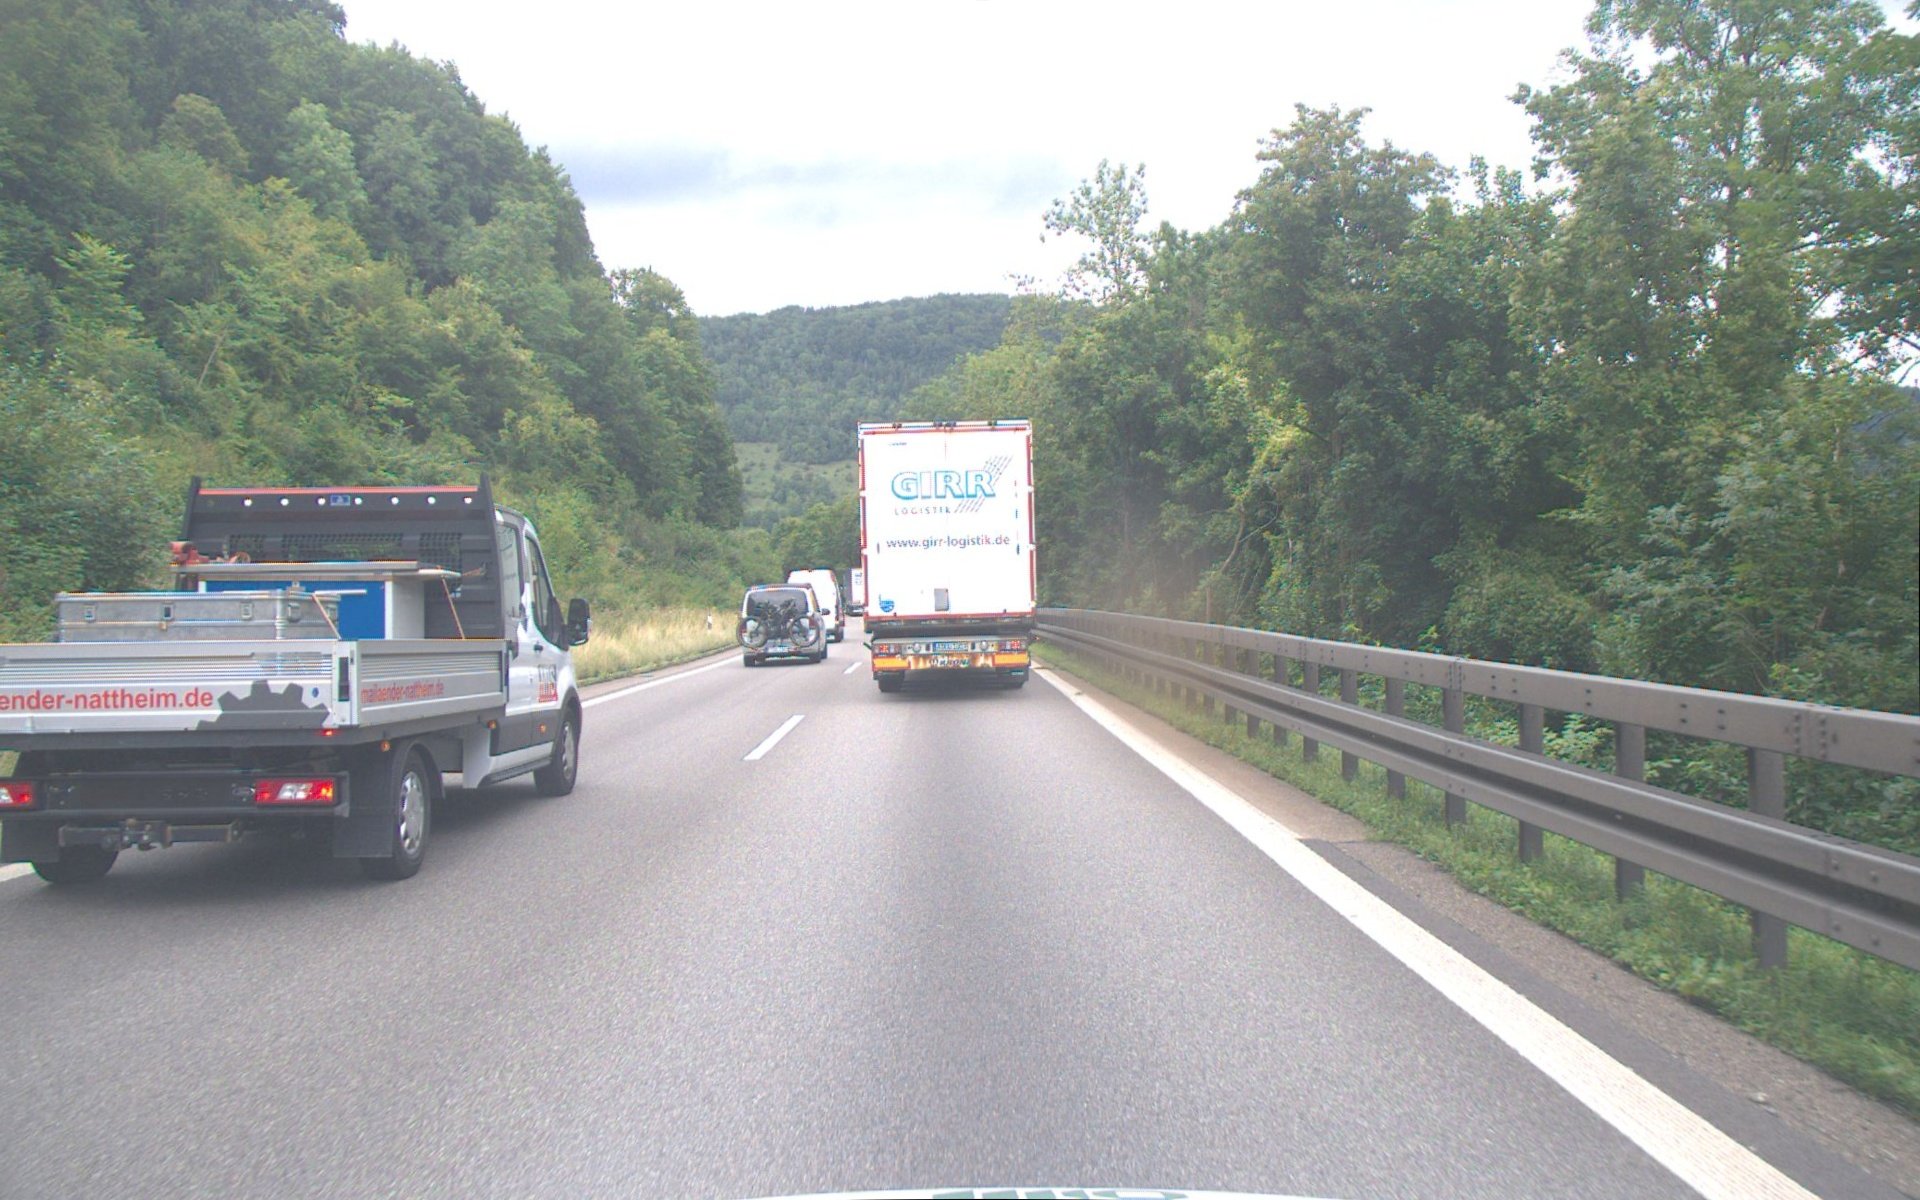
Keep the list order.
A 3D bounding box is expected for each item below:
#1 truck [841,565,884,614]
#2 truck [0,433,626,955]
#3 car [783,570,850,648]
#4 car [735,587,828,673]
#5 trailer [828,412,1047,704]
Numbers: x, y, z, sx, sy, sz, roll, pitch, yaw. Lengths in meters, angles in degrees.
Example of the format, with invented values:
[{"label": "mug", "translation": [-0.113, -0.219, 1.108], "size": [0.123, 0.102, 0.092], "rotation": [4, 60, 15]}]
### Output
[{"label": "truck", "translation": [-8.201, -0.806, 138.529], "size": [3.010, 3.945, 8.445], "rotation": [-1, 0, -7]}, {"label": "truck", "translation": [-3.989, 0.427, 10.888], "size": [2.302, 2.313, 6.847], "rotation": [-2, 0, -2]}, {"label": "car", "translation": [-5.275, 0.313, 61.358], "size": [2.081, 2.644, 5.561], "rotation": [-2, 0, -2]}, {"label": "car", "translation": [-4.355, 0.681, 41.154], "size": [1.978, 1.947, 5.559], "rotation": [-1, 0, -3]}, {"label": "trailer", "translation": [-0.356, -0.607, 28.067], "size": [3.069, 4.113, 9.438], "rotation": [0, 0, -1]}]
